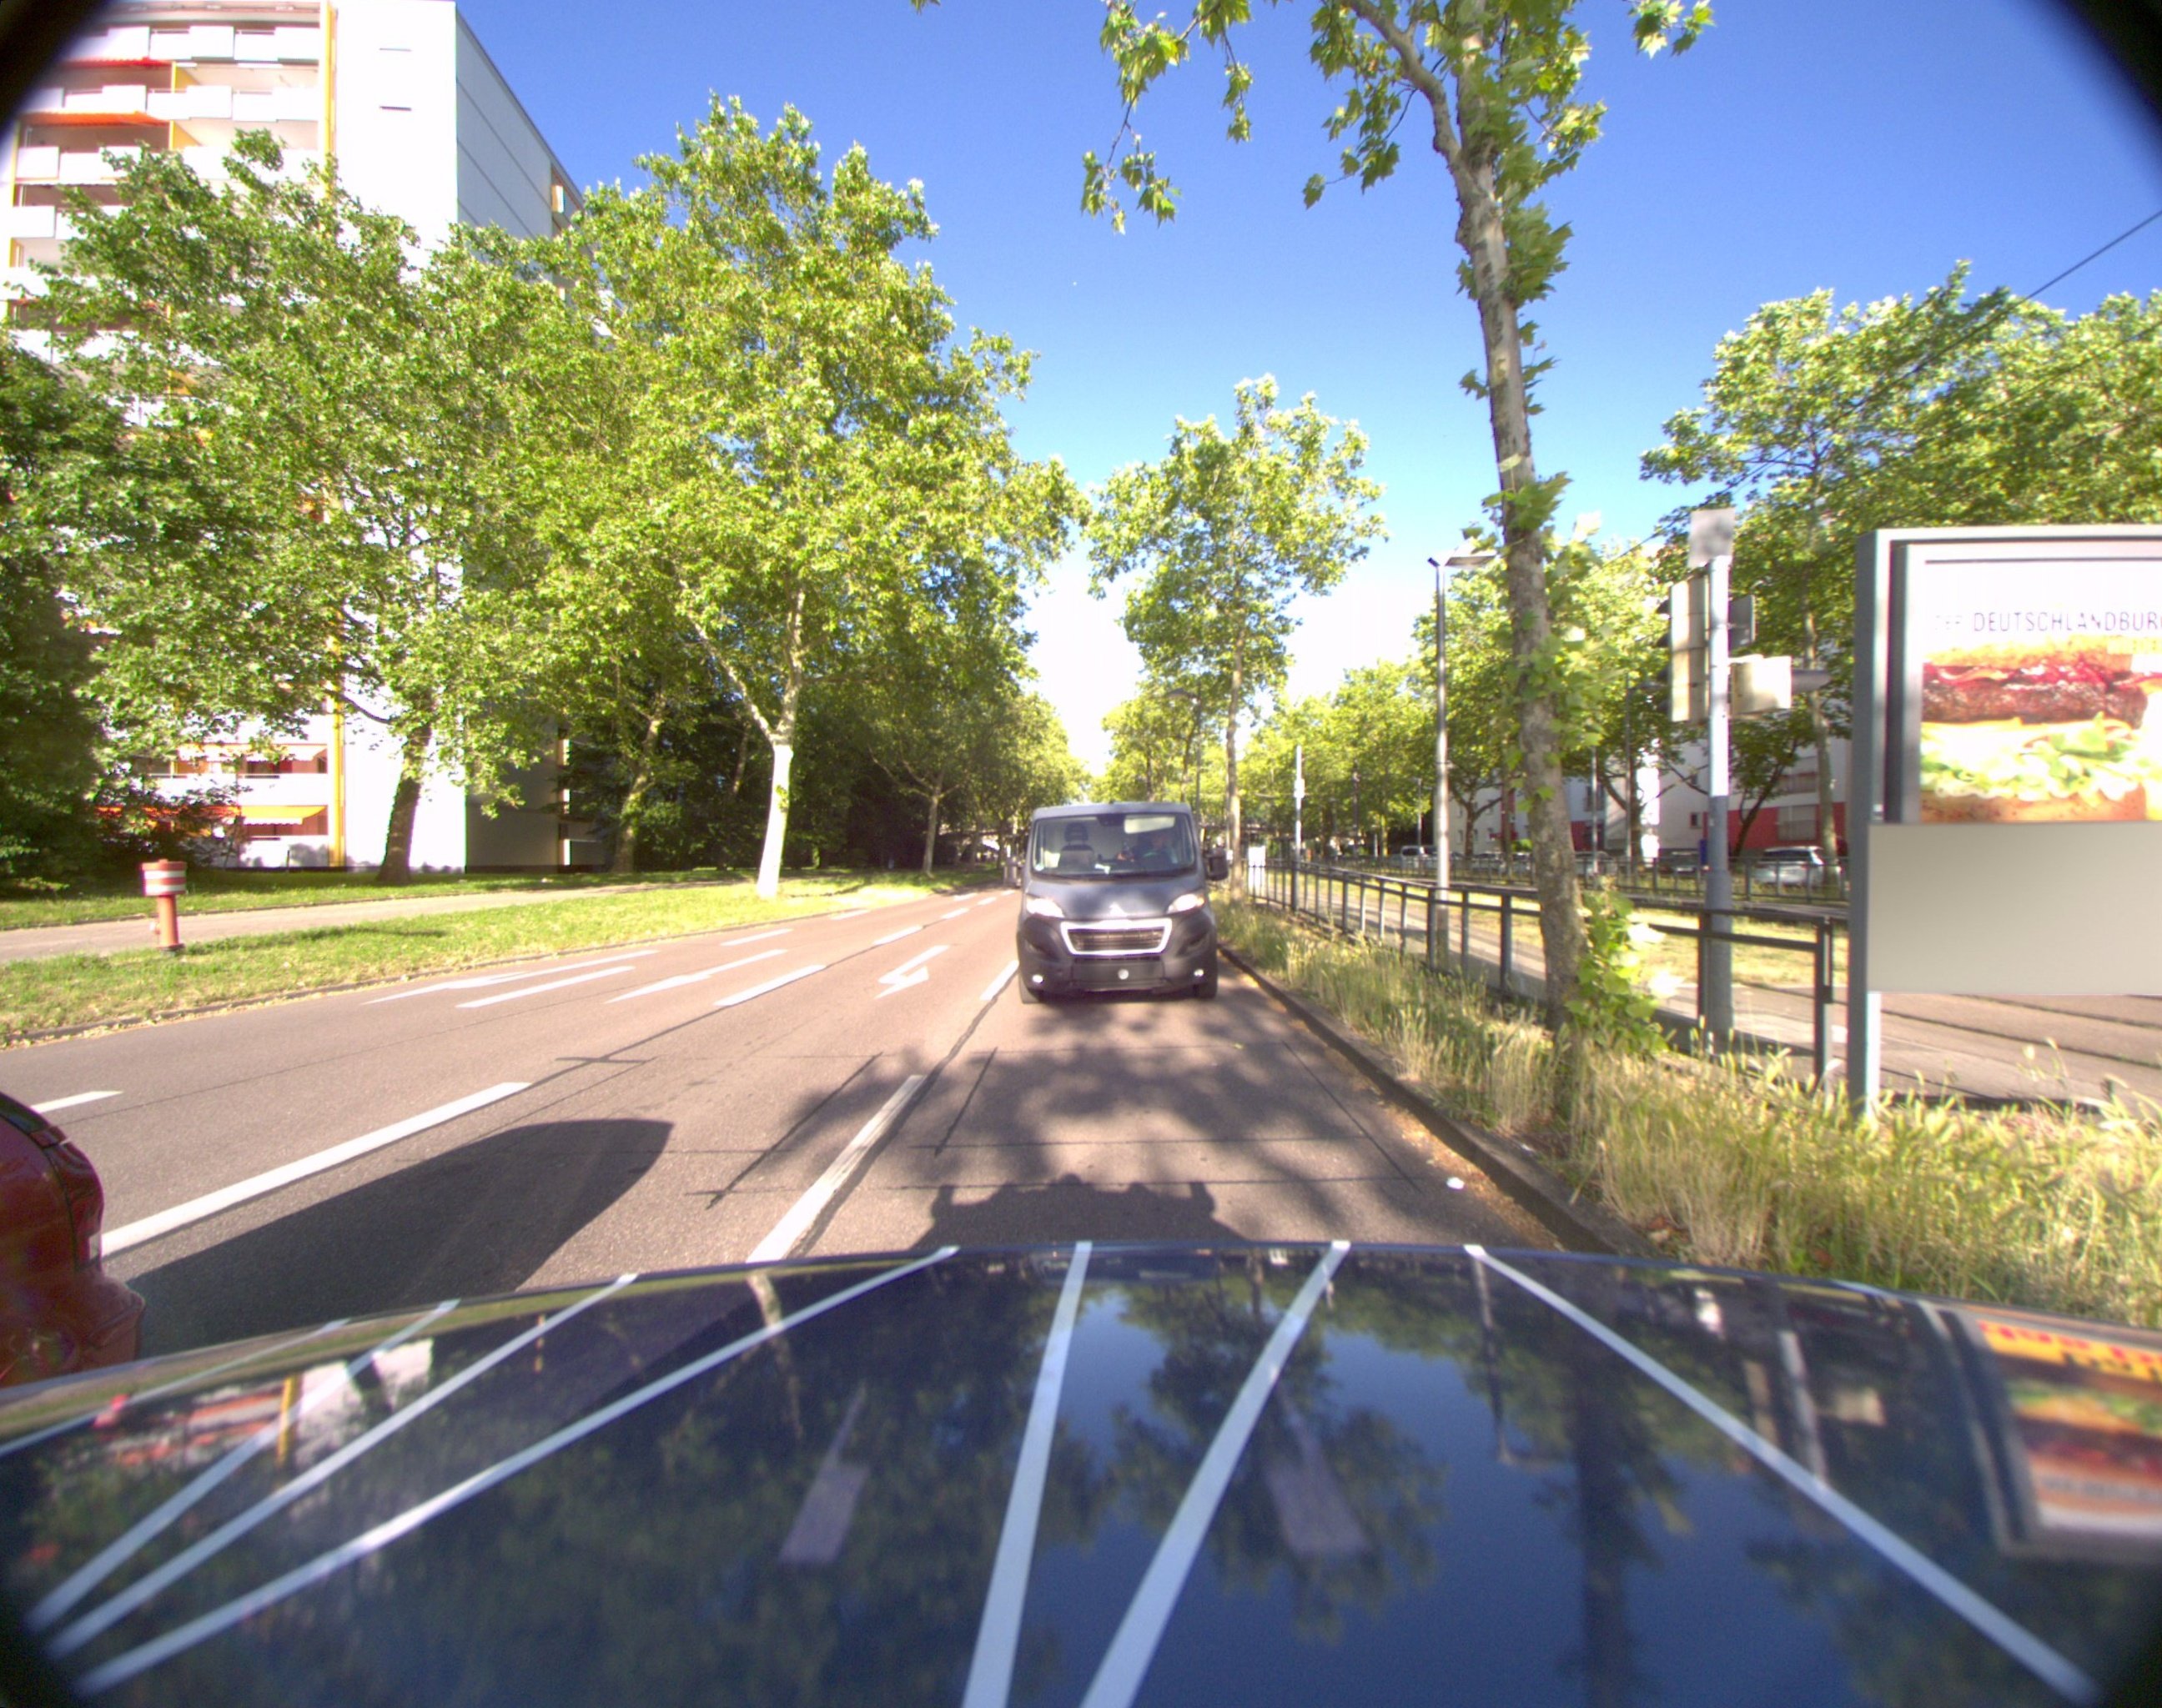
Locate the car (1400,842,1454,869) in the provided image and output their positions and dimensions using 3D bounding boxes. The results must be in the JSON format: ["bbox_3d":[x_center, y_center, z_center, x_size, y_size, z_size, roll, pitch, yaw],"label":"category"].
[{"bbox_3d":[25.958,0.084,56.972,4.376,1.873,1.919,-1,1,-39],"label":"car"}]

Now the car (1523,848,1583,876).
[{"bbox_3d":[25.808,0.428,41.498,3.689,1.440,1.645,-1,1,-39],"label":"car"}]

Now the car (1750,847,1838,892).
[{"bbox_3d":[25.053,0.493,26.666,3.689,1.425,1.683,-1,1,-38],"label":"car"}]

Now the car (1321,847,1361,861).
[{"bbox_3d":[27.240,0.023,79.555,4.376,1.367,1.919,-1,1,-39],"label":"car"}]

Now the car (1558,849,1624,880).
[{"bbox_3d":[25.327,0.500,37.671,3.689,1.384,1.645,-1,1,-38],"label":"car"}]

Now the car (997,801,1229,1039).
[{"bbox_3d":[0.325,0.580,9.407,2.040,2.102,5.113,-2,0,1],"label":"car"}]

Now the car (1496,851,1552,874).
[{"bbox_3d":[26.197,0.481,44.941,3.689,1.234,1.645,-1,1,-39],"label":"car"}]

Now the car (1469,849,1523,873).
[{"bbox_3d":[25.954,0.414,47.475,3.689,1.440,1.645,-1,1,-39],"label":"car"}]

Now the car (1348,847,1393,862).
[{"bbox_3d":[26.800,0.042,70.370,4.376,1.367,1.919,-1,1,-39],"label":"car"}]

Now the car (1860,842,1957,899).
[{"bbox_3d":[25.015,0.461,22.941,3.689,1.558,1.683,-1,1,-38],"label":"car"}]

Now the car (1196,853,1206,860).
[{"bbox_3d":[25.839,0.486,163.091,1.672,1.351,3.295,-1,0,1],"label":"car"}]

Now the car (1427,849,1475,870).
[{"bbox_3d":[26.242,0.346,53.879,3.689,1.388,1.645,-1,1,-39],"label":"car"}]

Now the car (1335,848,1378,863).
[{"bbox_3d":[26.585,0.098,73.258,4.376,1.367,1.919,-1,1,-39],"label":"car"}]

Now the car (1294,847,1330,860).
[{"bbox_3d":[27.199,-0.061,89.409,4.376,1.367,1.919,-1,1,-39],"label":"car"}]
